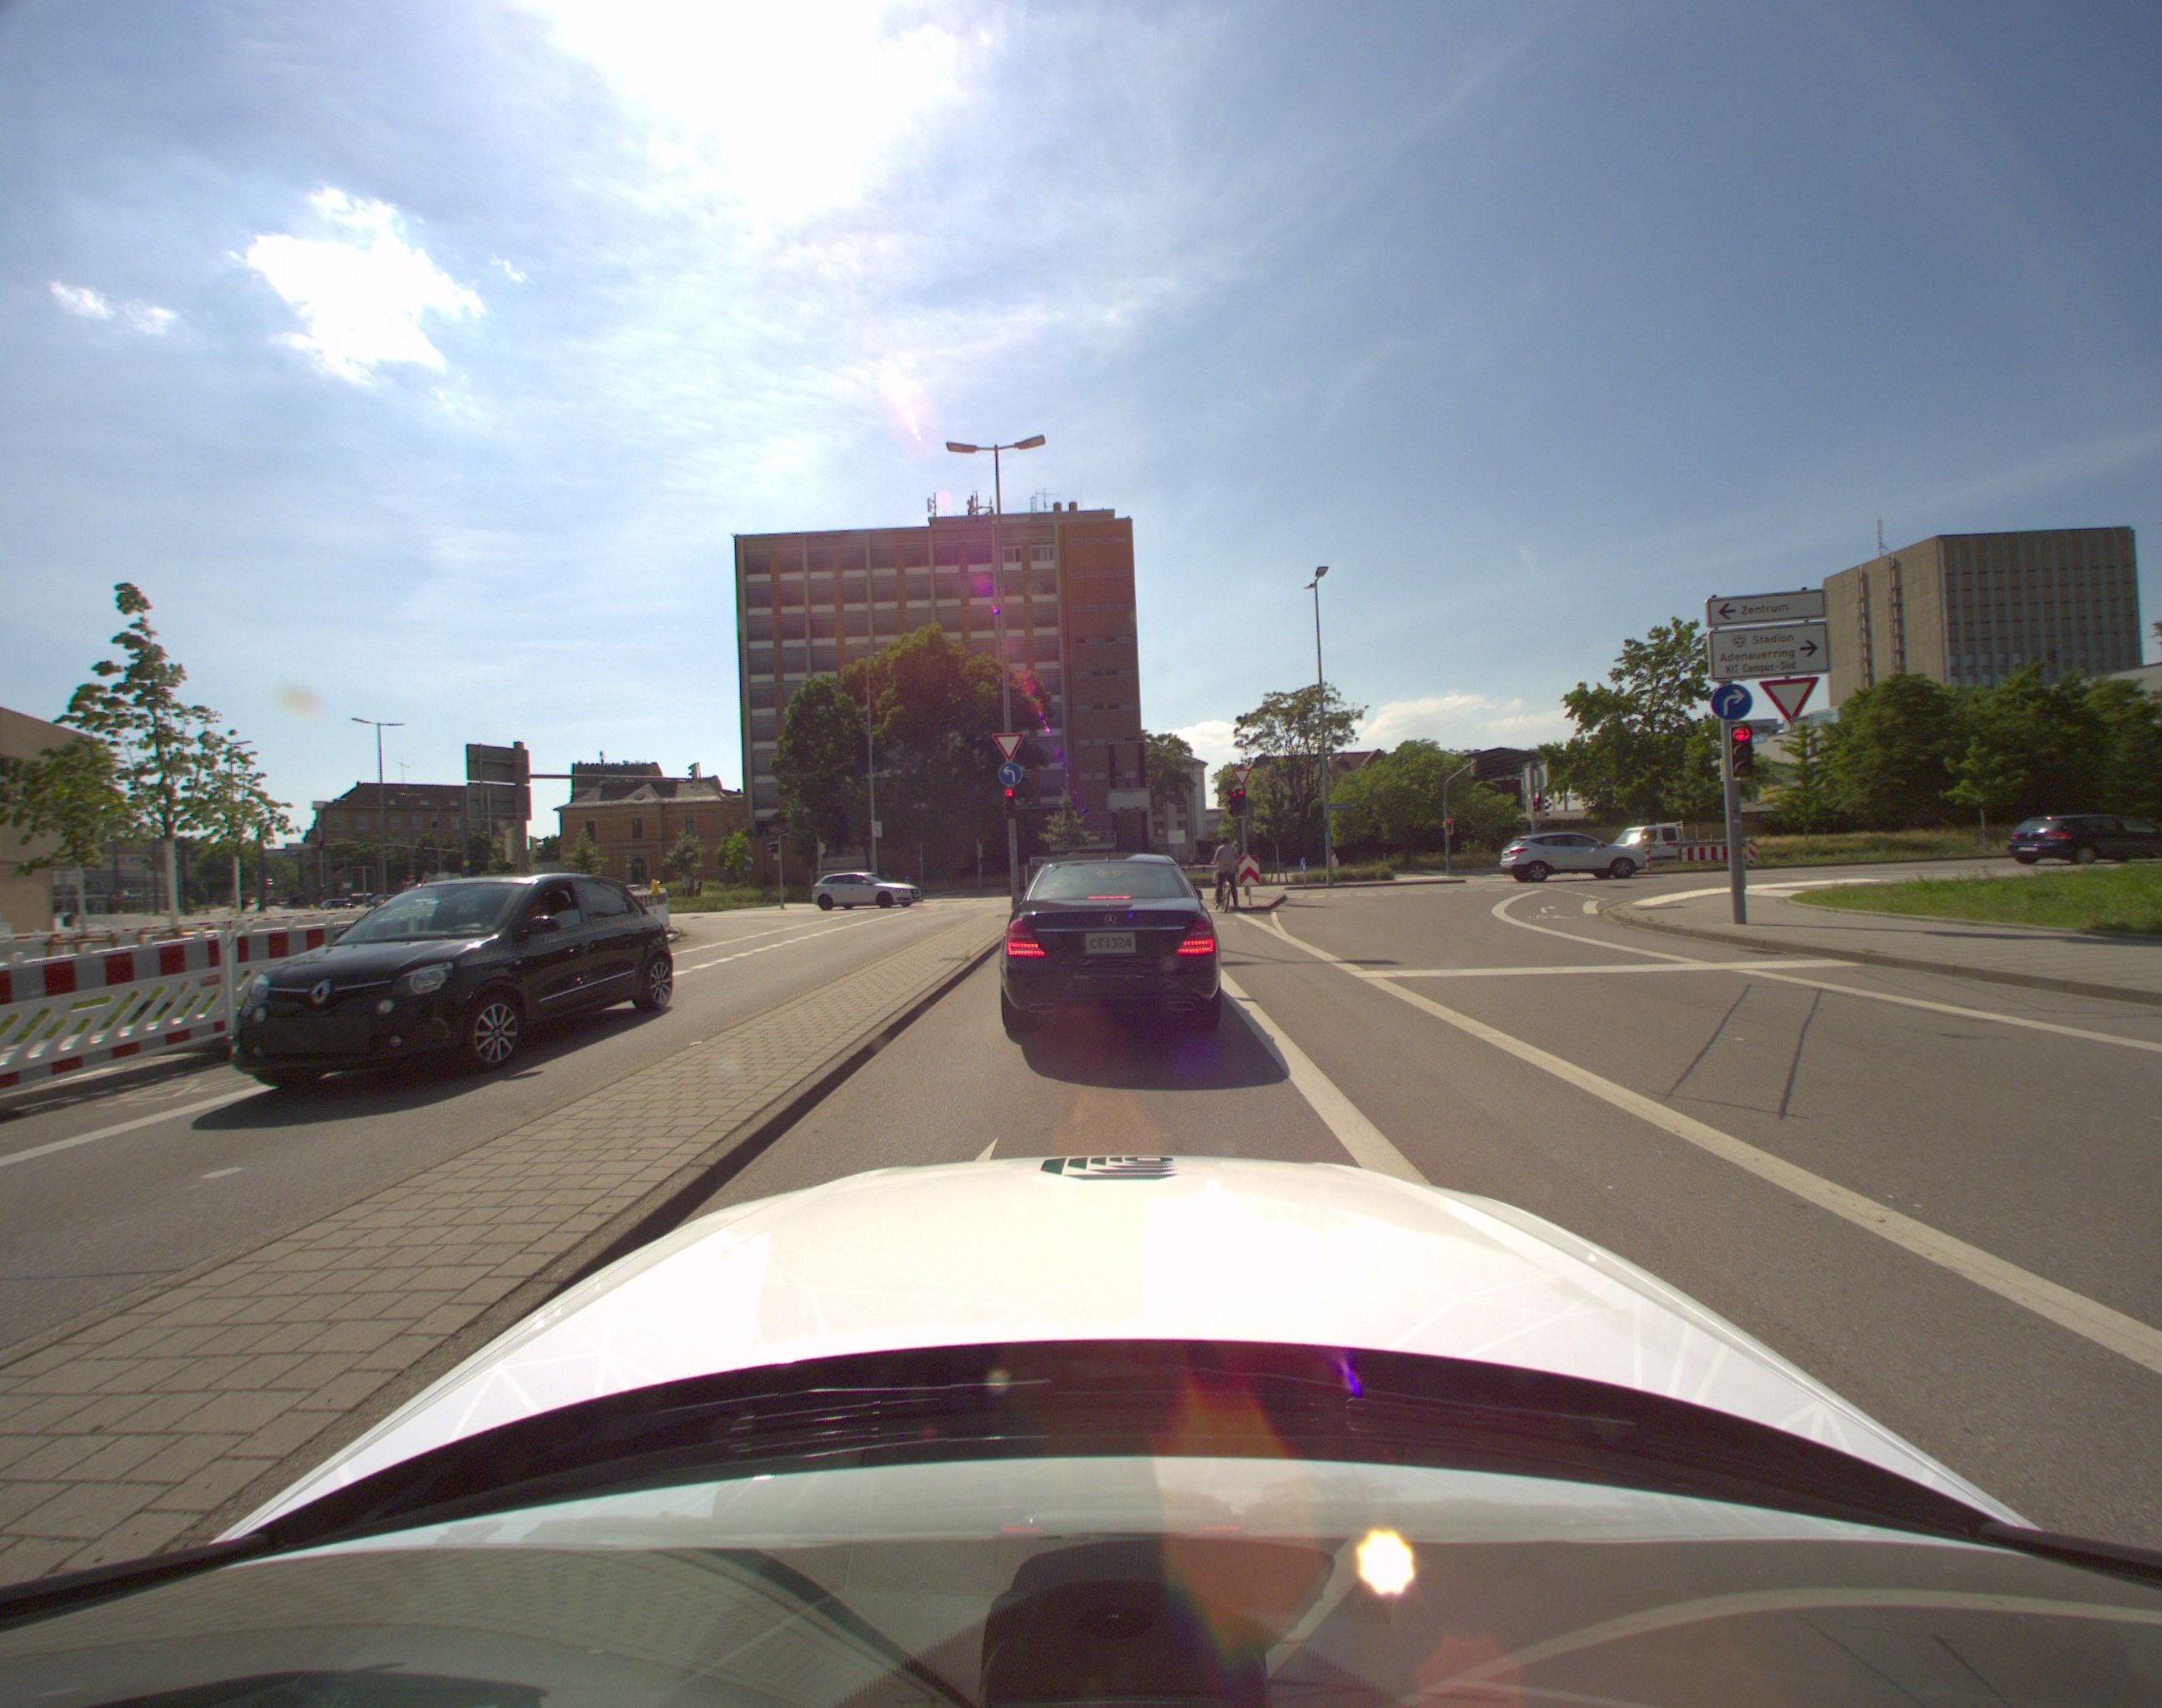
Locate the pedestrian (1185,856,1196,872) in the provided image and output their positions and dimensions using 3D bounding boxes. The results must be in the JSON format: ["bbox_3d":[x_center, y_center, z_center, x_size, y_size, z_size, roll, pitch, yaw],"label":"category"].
[{"bbox_3d":[8.625,0.804,64.205,0.788,1.214,0.759,-1,-1,8],"label":"pedestrian"}]

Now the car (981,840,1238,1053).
[{"bbox_3d":[0.338,0.697,8.295,1.851,1.530,4.717,-1,-1,3],"label":"car"}]

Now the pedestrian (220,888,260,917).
[{"bbox_3d":[-61.378,3.502,59.426,1.508,2.014,1.662,-1,-1,29],"label":"pedestrian"}]

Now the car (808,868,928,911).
[{"bbox_3d":[-8.196,1.355,31.373,4.127,1.420,1.591,-3,0,16],"label":"car"}]

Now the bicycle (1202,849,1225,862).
[{"bbox_3d":[16.966,0.237,104.342,2.813,1.500,0.842,-3,0,1],"label":"bicycle"}]

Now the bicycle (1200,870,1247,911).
[{"bbox_3d":[3.590,0.901,20.670,0.691,0.946,1.955,0,-1,-4],"label":"bicycle"}]

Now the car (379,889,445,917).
[{"bbox_3d":[-48.089,3.511,58.535,3.951,1.816,2.011,-3,-1,24],"label":"car"}]

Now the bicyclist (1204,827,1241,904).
[{"bbox_3d":[3.577,0.290,20.645,0.684,1.878,0.858,-1,-1,-5],"label":"bicyclist"}]

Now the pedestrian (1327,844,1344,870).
[{"bbox_3d":[15.951,0.182,50.999,0.807,1.579,0.693,-3,-1,3],"label":"pedestrian"}]

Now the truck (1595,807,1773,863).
[{"bbox_3d":[30.116,-0.940,40.876,6.997,2.355,2.415,-3,0,2],"label":"truck"}]

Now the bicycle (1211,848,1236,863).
[{"bbox_3d":[16.806,0.196,96.055,2.813,1.659,0.842,-3,1,1],"label":"bicycle"}]

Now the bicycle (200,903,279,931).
[{"bbox_3d":[-61.386,4.550,59.450,1.479,1.779,3.769,-1,-1,30],"label":"bicycle"}]

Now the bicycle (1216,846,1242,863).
[{"bbox_3d":[17.030,0.073,93.571,2.813,1.744,0.842,-3,0,1],"label":"bicycle"}]

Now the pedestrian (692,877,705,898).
[{"bbox_3d":[-30.695,2.665,65.348,0.642,1.661,0.654,-1,-1,28],"label":"pedestrian"}]

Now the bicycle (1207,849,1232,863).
[{"bbox_3d":[16.678,0.194,98.166,2.813,1.537,0.842,-3,0,1],"label":"bicycle"}]

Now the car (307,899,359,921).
[{"bbox_3d":[-55.553,4.164,60.440,3.948,1.510,1.811,-3,-1,32],"label":"car"}]

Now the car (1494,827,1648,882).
[{"bbox_3d":[16.820,0.027,28.167,4.174,1.618,1.718,-3,0,13],"label":"car"}]

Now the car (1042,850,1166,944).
[{"bbox_3d":[0.433,0.708,15.179,1.986,1.508,4.001,0,-1,2],"label":"car"}]

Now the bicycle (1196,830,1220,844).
[{"bbox_3d":[15.952,-2.089,102.135,2.813,1.559,0.842,-3,0,1],"label":"bicycle"}]

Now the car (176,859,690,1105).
[{"bbox_3d":[-5.353,0.890,7.446,1.655,1.574,3.633,-4,0,1],"label":"car"}]

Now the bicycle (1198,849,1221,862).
[{"bbox_3d":[16.714,0.160,106.228,2.812,1.480,0.842,-3,0,2],"label":"bicycle"}]

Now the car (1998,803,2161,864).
[{"bbox_3d":[30.202,-0.618,24.132,3.966,1.590,1.587,-3,0,6],"label":"car"}]

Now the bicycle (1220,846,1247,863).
[{"bbox_3d":[17.104,0.045,91.309,2.813,1.836,0.842,-3,0,1],"label":"bicycle"}]

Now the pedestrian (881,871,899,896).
[{"bbox_3d":[-13.442,2.081,57.276,0.790,1.725,0.878,-3,-1,24],"label":"pedestrian"}]
